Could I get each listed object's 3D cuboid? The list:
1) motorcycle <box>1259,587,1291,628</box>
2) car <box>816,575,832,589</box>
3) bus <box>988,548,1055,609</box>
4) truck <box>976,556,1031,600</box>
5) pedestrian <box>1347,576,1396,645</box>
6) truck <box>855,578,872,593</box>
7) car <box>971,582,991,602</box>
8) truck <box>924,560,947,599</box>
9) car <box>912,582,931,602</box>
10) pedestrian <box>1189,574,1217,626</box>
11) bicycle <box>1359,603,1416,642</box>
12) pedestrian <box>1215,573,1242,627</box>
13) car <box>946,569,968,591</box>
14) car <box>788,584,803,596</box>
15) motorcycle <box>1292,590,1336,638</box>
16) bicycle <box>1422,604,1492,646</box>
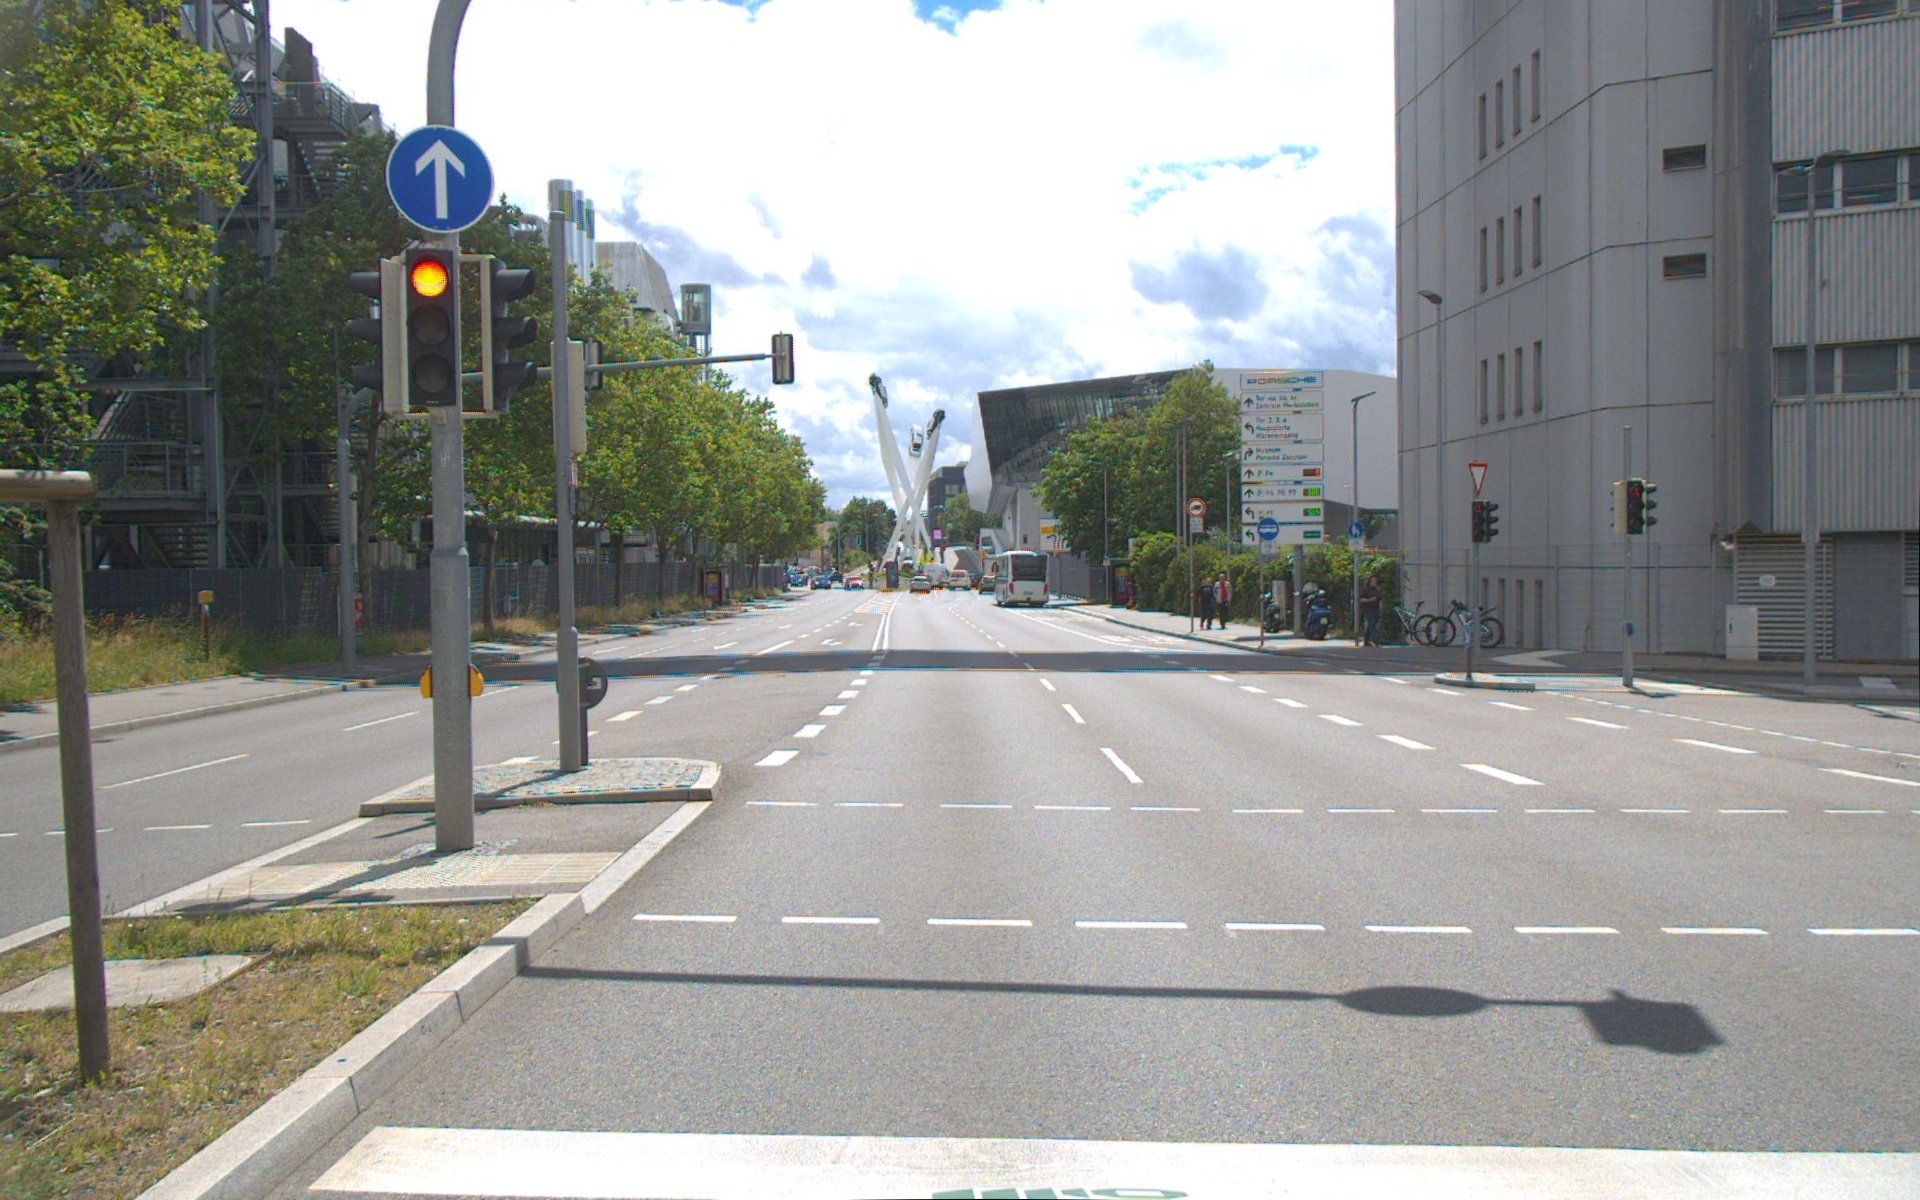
[{"bbox_3d":[10.066,0.229,52.889,0.562,1.224,2.024,-2,1,-1],"label":"motorcycle"},{"bbox_3d":[-15.208,-1.997,185.071,1.783,1.564,3.675,-2,0,-5],"label":"car"},{"bbox_3d":[3.699,-1.307,102.933,3.383,3.605,10.601,0,0,-2],"label":"bus"},{"bbox_3d":[4.585,-2.218,171.736,3.379,4.468,9.426,0,0,17],"label":"truck"},{"bbox_3d":[9.994,0.245,40.128,0.834,1.653,0.951,0,0,40],"label":"pedestrian"},{"bbox_3d":[-10.130,-1.550,173.569,1.553,1.564,3.673,0,0,-6],"label":"truck"},{"bbox_3d":[1.888,-0.679,147.255,1.703,1.772,3.691,0,0,-1],"label":"car"},{"bbox_3d":[-2.538,-2.135,172.086,2.343,3.965,6.176,0,0,-1],"label":"truck"},{"bbox_3d":[-3.441,-0.741,147.749,1.703,1.772,3.691,0,0,-1],"label":"car"},{"bbox_3d":[8.124,0.001,55.281,0.803,1.737,0.881,0,0,-1],"label":"pedestrian"},{"bbox_3d":[10.617,0.546,41.116,0.391,0.953,1.917,0,0,-19],"label":"bicycle"},{"bbox_3d":[8.949,-0.008,55.153,0.803,1.772,0.637,0,0,-1],"label":"pedestrian"},{"bbox_3d":[-0.289,-1.958,165.327,1.952,2.049,4.001,1,-1,3],"label":"car"},{"bbox_3d":[-21.382,-1.296,215.089,1.782,1.564,3.676,-2,0,-3],"label":"car"},{"bbox_3d":[9.619,0.365,45.023,0.692,1.224,2.024,-2,1,-1],"label":"motorcycle"},{"bbox_3d":[11.651,0.580,38.844,0.392,0.953,1.912,0,0,-26],"label":"bicycle"}]
